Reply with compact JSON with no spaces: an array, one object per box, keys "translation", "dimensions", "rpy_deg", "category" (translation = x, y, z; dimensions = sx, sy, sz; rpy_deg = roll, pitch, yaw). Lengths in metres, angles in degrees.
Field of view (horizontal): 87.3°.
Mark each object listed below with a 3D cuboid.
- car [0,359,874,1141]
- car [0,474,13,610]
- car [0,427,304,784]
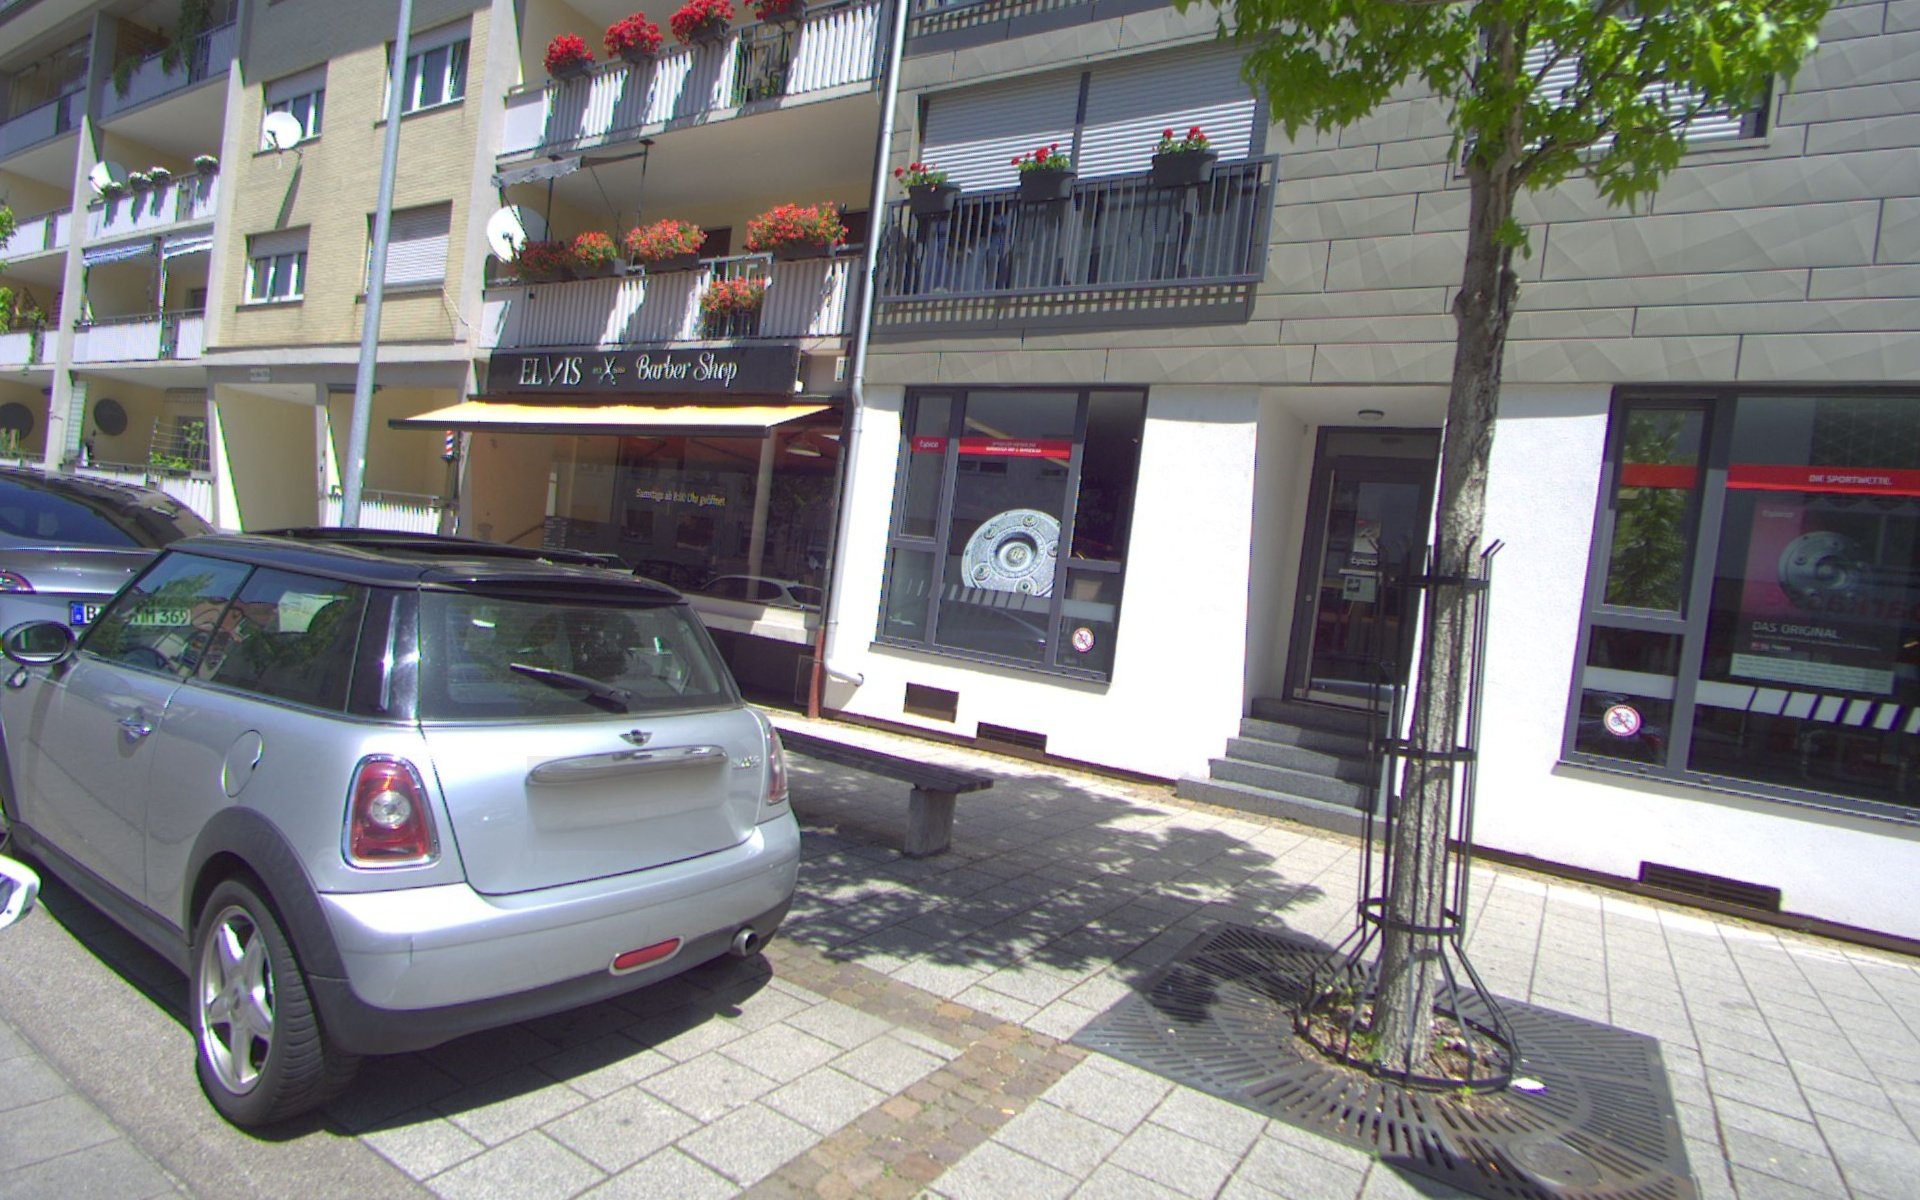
[{"translation":[-2.388,0.191,3.717],"dimensions":[3.777,1.578,1.625],"rpy_deg":[6,-1,32],"category":"car"},{"translation":[-10.724,-0.568,9.428],"dimensions":[4.157,1.603,1.723],"rpy_deg":[6,0,34],"category":"car"},{"translation":[-6.363,-0.155,6.441],"dimensions":[4.628,1.727,1.766],"rpy_deg":[7,0,33],"category":"car"}]
